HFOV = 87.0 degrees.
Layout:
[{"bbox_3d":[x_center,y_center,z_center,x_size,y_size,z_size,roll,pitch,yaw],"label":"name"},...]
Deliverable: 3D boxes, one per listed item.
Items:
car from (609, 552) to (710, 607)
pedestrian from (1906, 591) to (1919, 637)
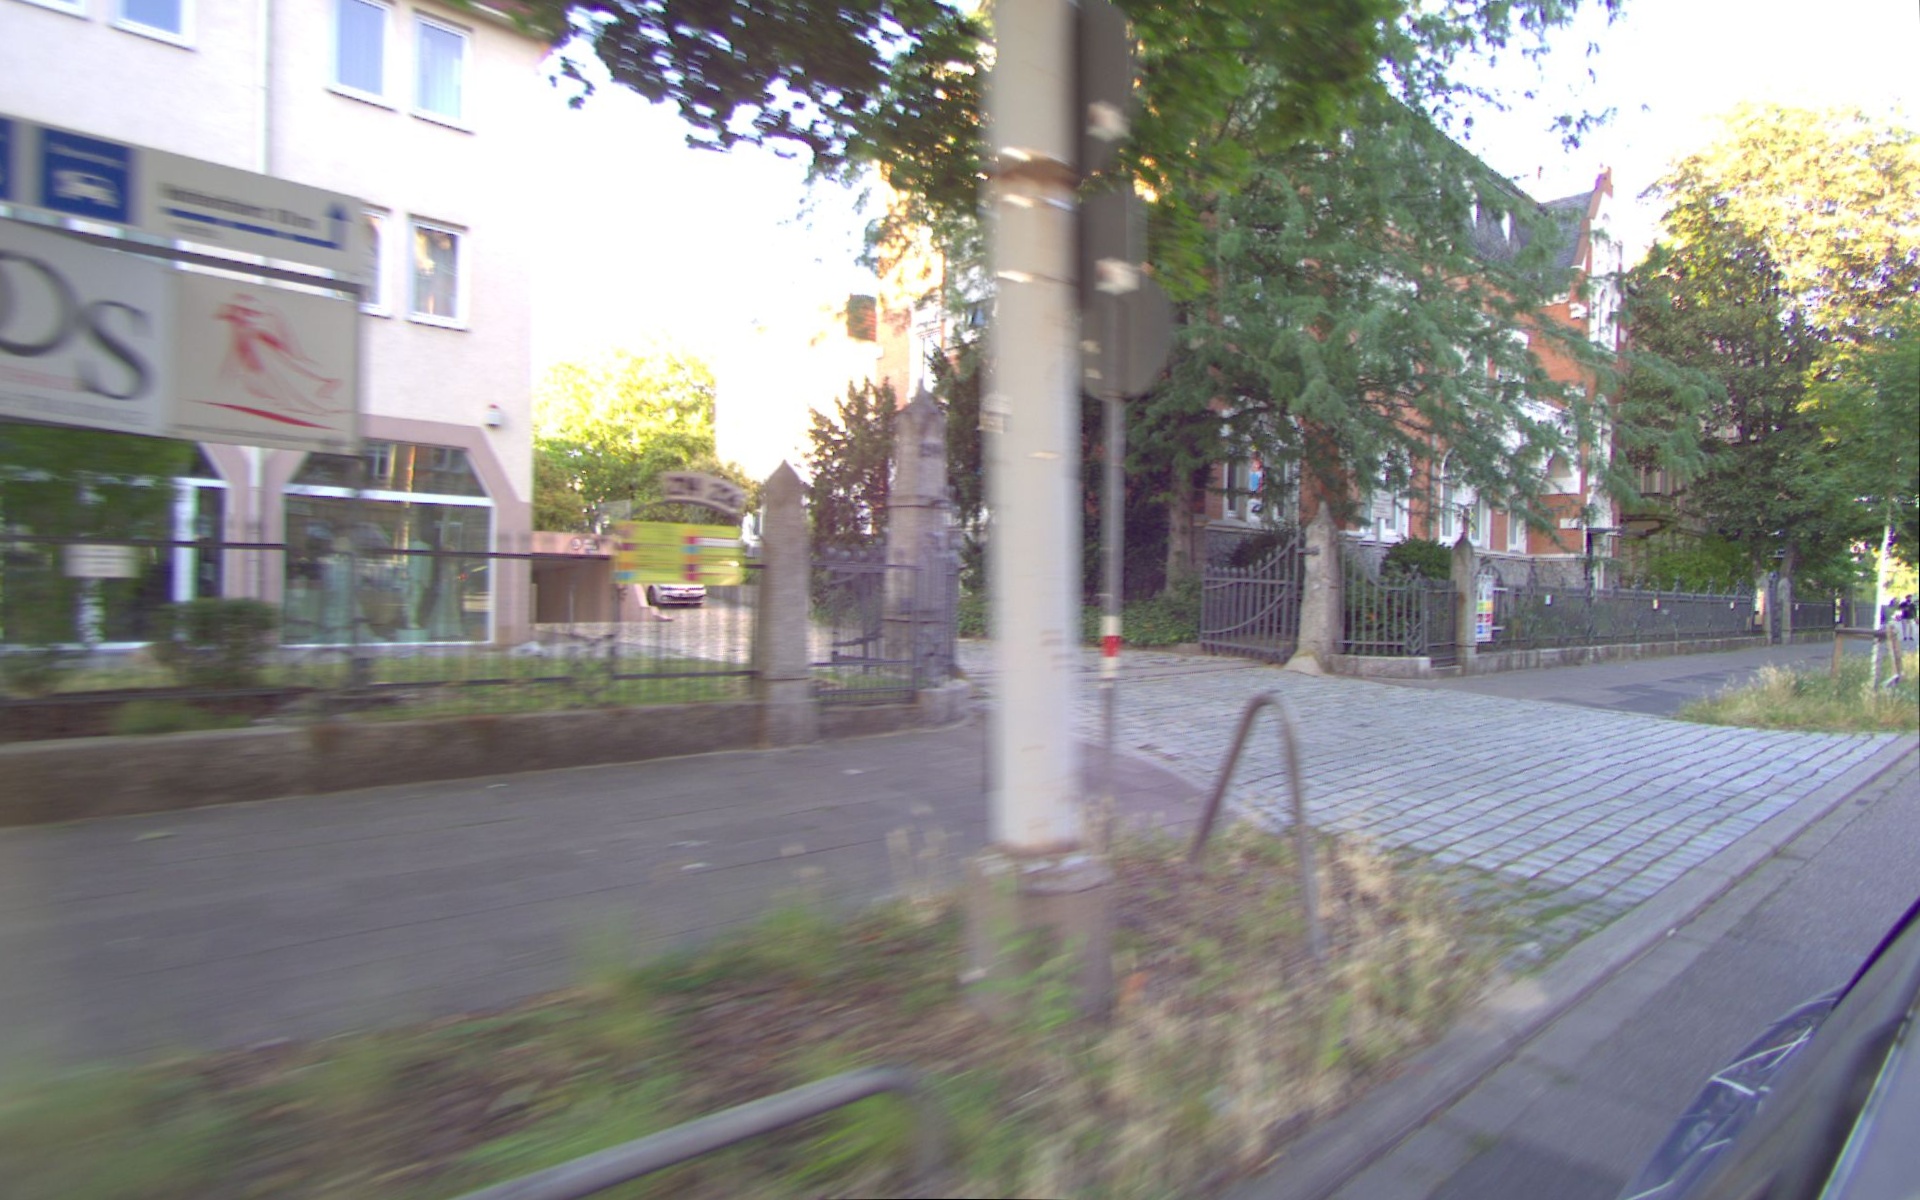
[{"bbox_3d":[-10.243,-0.737,34.317,1.788,1.503,4.455,0,5,-37],"label":"car"},{"bbox_3d":[38.185,0.573,40.180,0.744,1.800,0.820,5,3,38],"label":"pedestrian"}]
